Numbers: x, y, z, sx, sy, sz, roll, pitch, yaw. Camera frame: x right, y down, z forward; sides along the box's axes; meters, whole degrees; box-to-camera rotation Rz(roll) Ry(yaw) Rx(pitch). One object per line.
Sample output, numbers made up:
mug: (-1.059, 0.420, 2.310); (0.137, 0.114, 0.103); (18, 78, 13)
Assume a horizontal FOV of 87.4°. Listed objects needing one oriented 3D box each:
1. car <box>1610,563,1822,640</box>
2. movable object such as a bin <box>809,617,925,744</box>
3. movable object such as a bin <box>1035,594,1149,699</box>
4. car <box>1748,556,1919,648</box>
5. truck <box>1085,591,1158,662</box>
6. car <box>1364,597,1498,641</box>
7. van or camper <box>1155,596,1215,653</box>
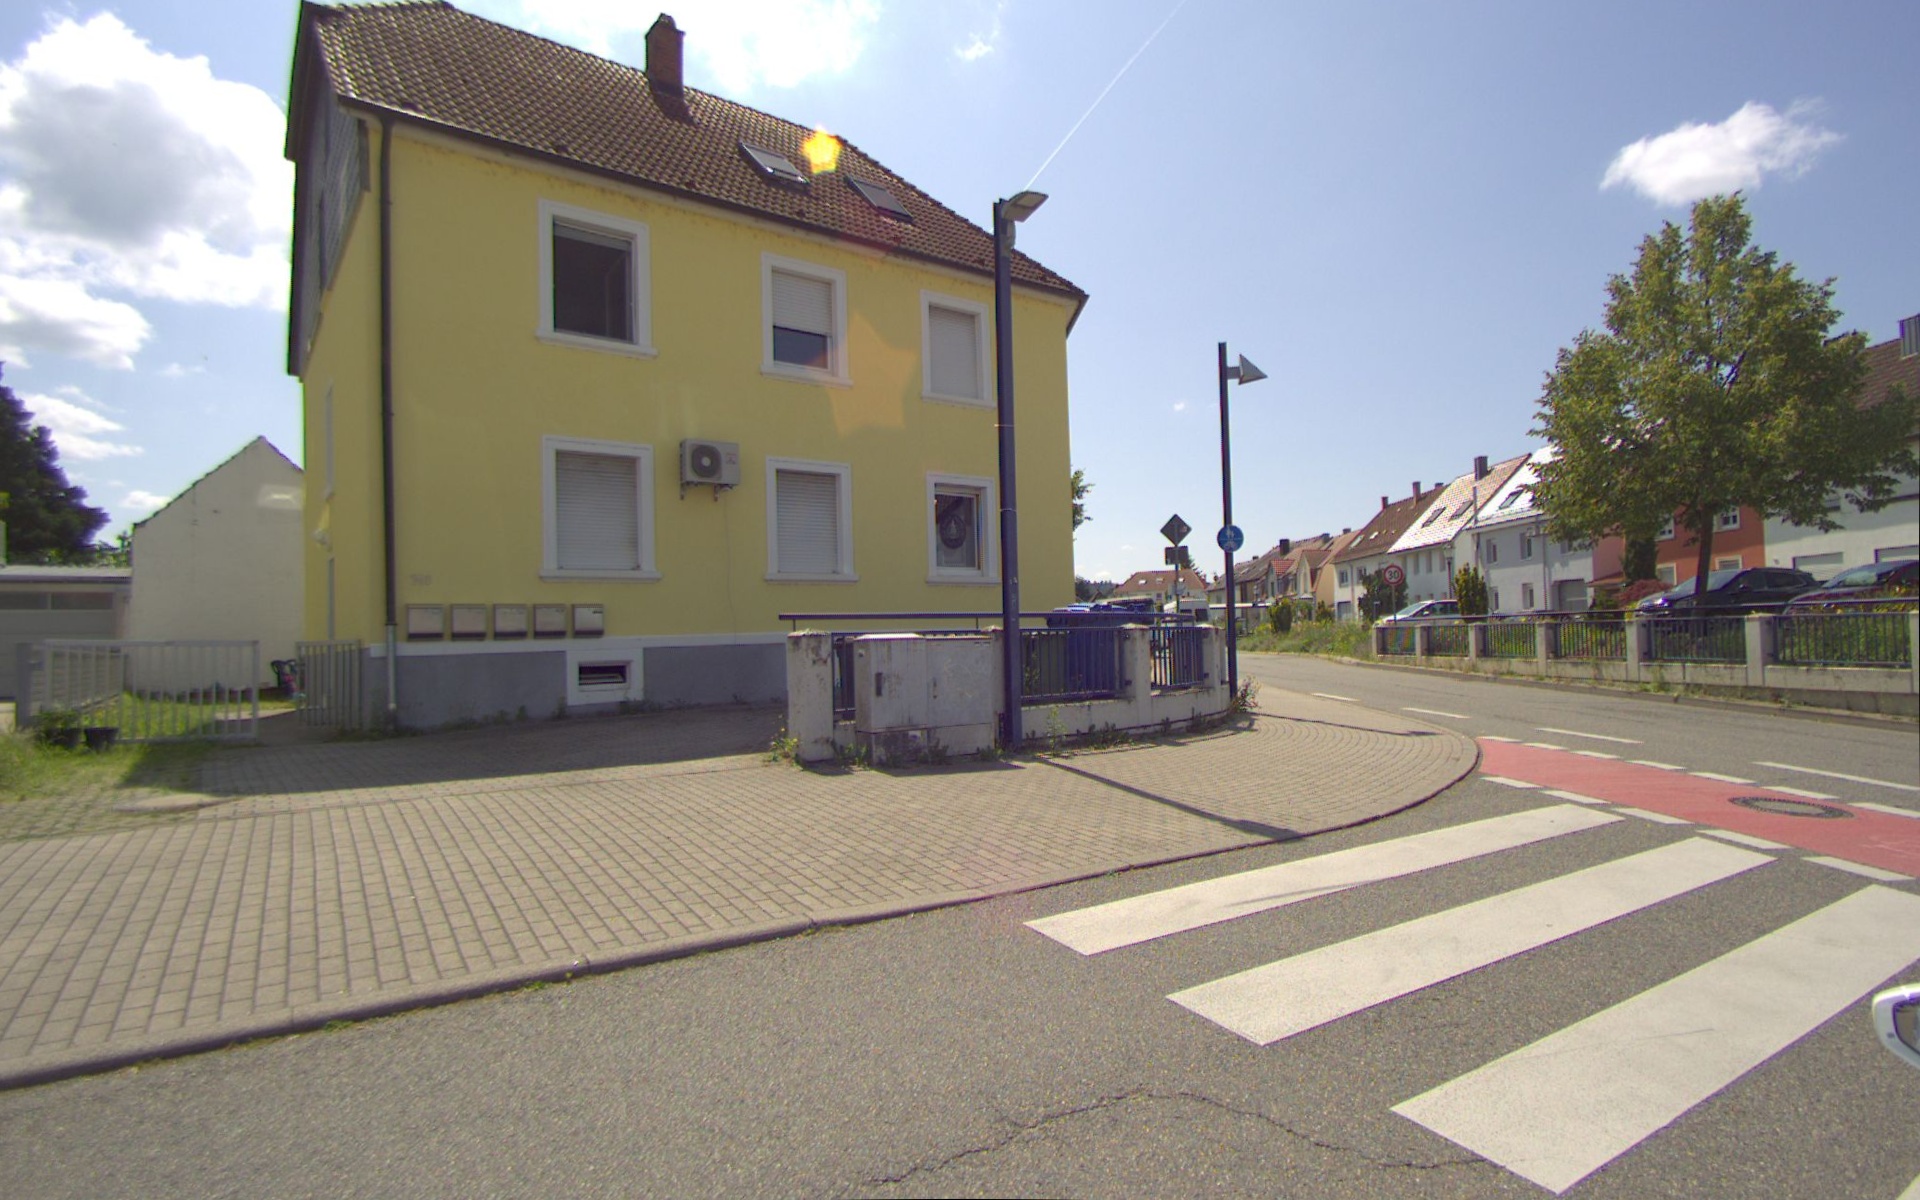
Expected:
car: (17.054, 0.027, 22.739); (3.544, 1.608, 1.870); (1, 1, -9)
movable object such as a bin: (-0.976, 0.806, 10.475); (0.892, 1.241, 0.880); (0, -2, -33)
movable object such as a bin: (1.660, 0.566, 12.522); (0.830, 1.229, 1.269); (-2, -2, 42)
car: (17.259, 0.034, 18.914); (3.544, 1.608, 1.870); (1, 1, -9)
truck: (7.281, 1.137, 46.212); (2.566, 2.915, 8.075); (-1, -1, 4)
car: (17.618, 0.703, 37.703); (4.174, 1.508, 1.747); (1, 1, -3)
van or camper: (11.333, 1.175, 50.889); (1.964, 2.665, 5.395); (2, 0, 3)
